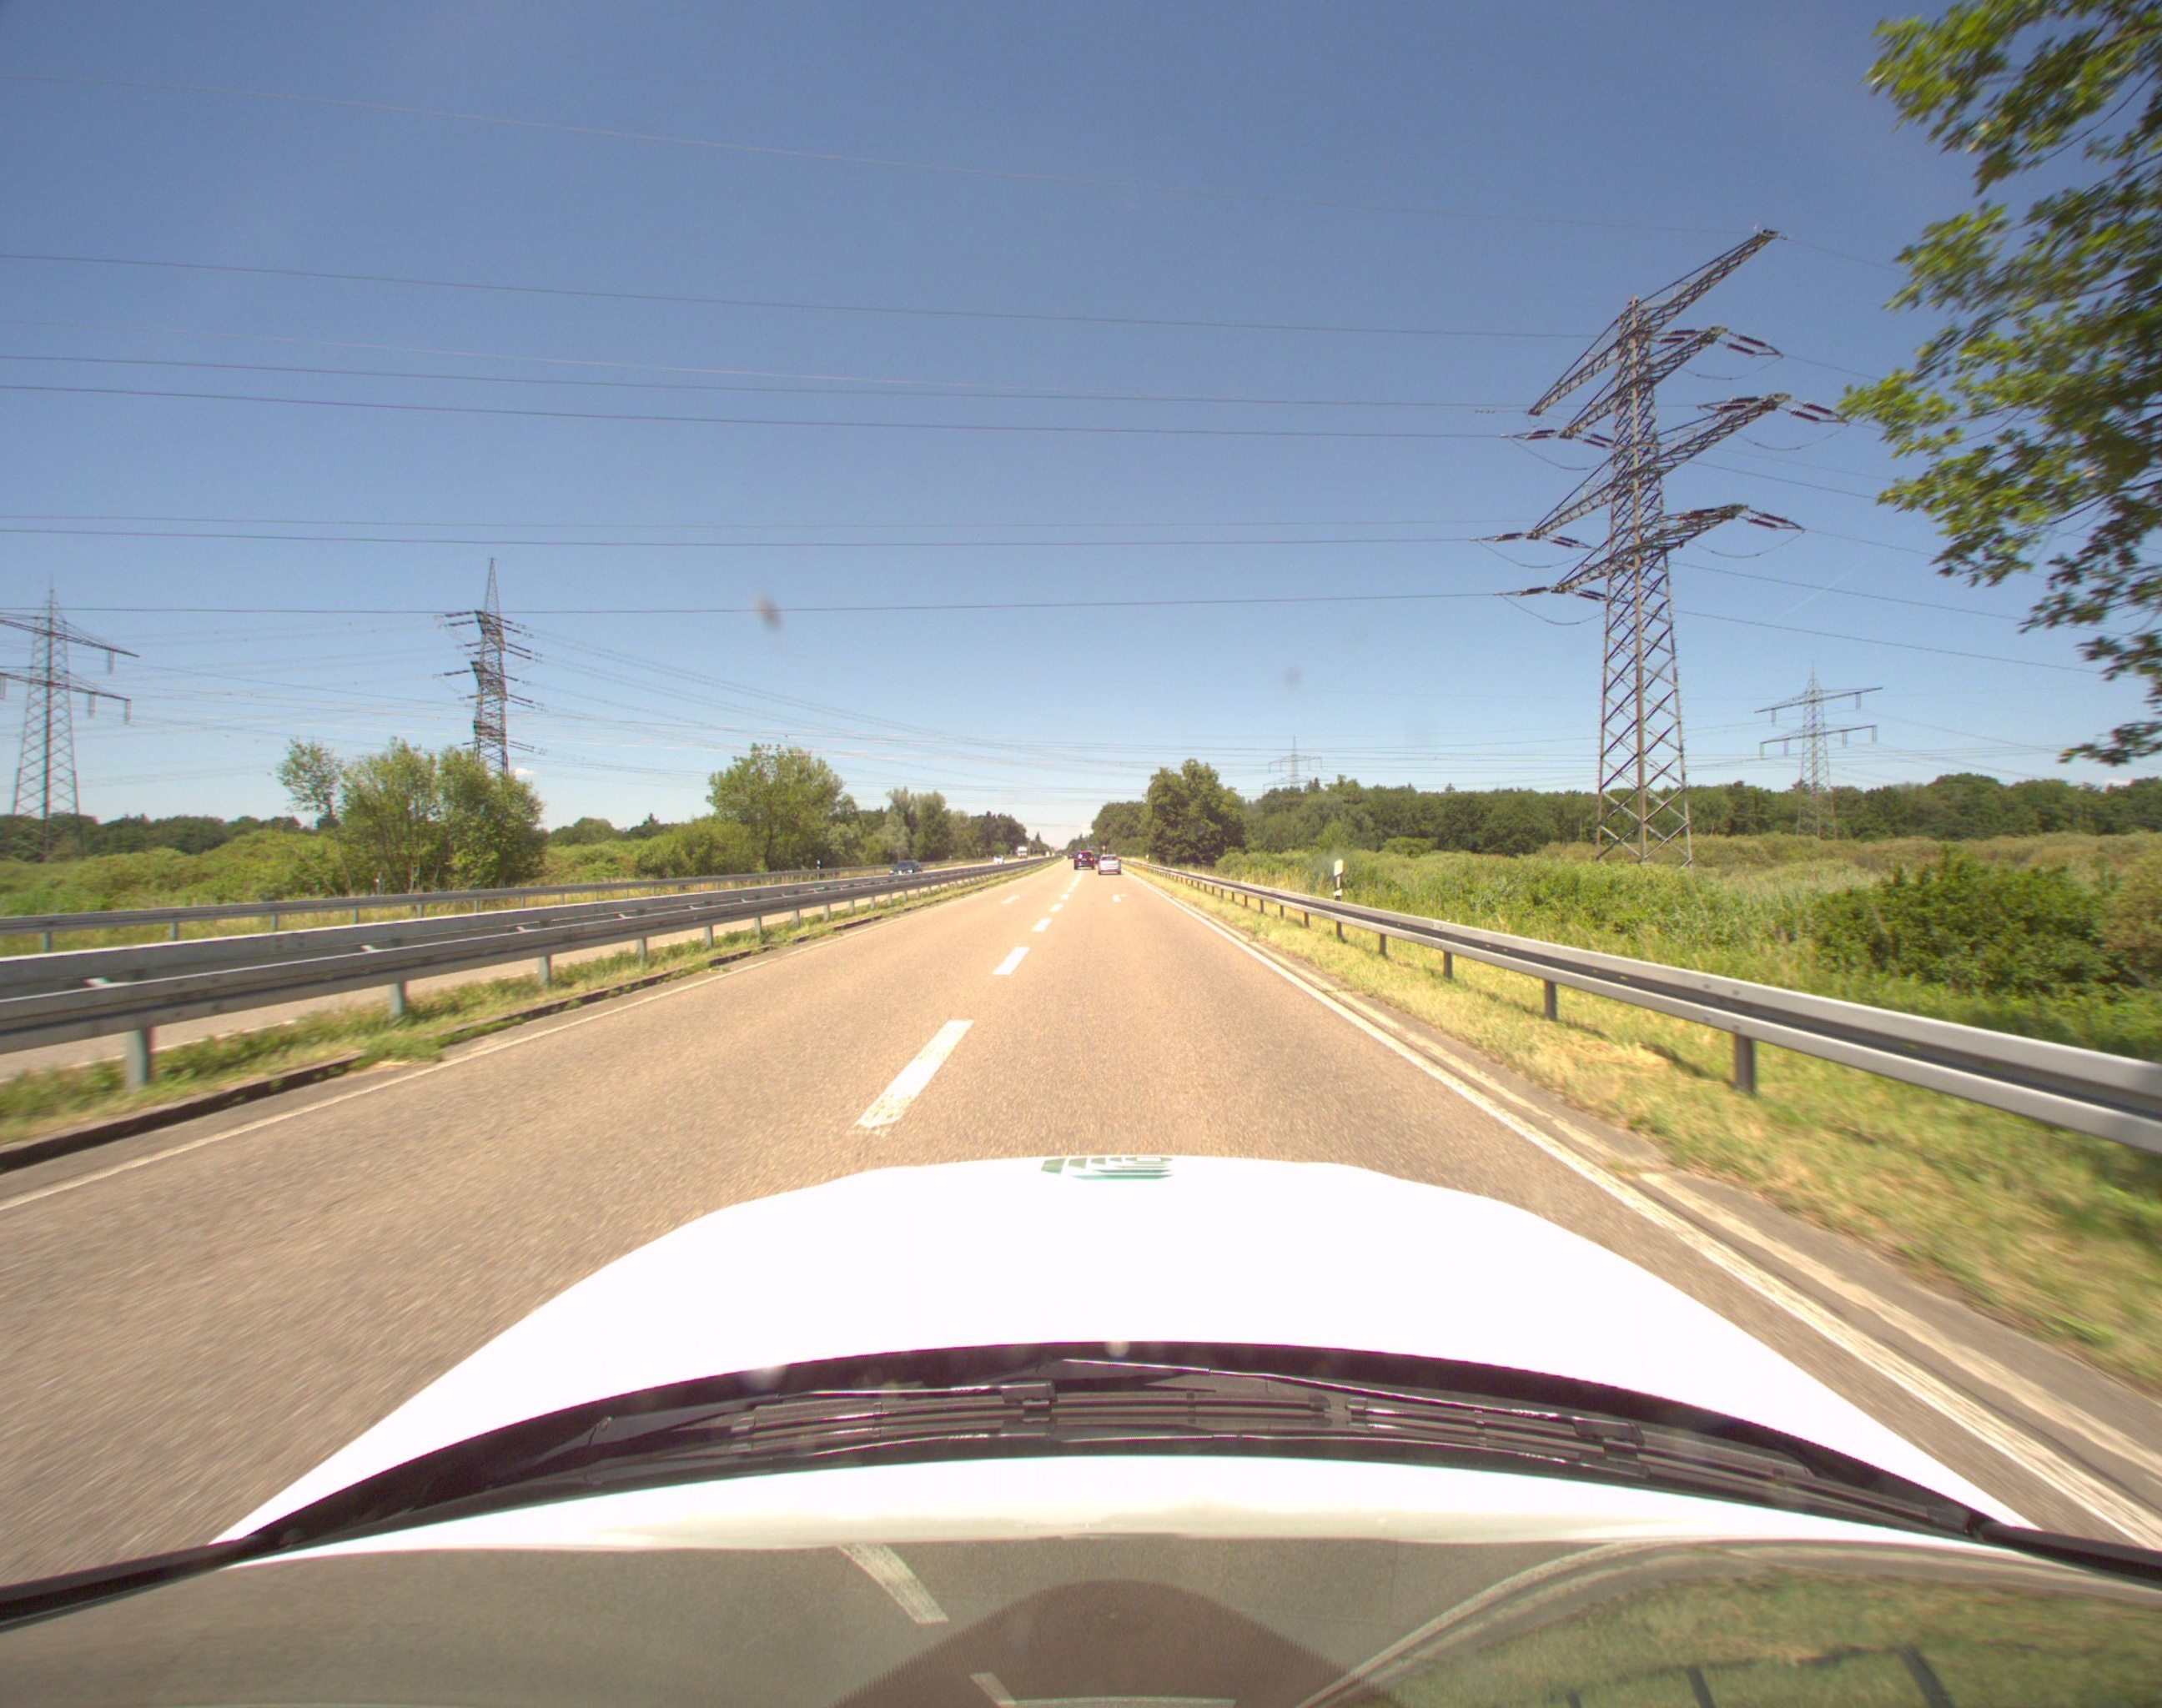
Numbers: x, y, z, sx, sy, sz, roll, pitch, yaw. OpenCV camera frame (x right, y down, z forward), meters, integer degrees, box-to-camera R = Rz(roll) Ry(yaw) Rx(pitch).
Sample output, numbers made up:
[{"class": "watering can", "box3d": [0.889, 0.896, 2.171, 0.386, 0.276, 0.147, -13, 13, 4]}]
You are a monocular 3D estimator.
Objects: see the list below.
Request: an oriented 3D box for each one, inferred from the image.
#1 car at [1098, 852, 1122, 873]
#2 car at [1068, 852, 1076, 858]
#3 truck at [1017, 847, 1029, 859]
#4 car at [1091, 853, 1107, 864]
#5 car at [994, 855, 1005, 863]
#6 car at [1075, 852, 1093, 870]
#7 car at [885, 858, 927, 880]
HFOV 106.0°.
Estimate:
[{"class": "car", "box3d": [2.140, 0.631, 60.360, 1.635, 1.468, 3.419, 1, 0, 1]}, {"class": "car", "box3d": [-2.192, 0.292, 194.761, 1.707, 1.471, 3.572, 1, 0, -1]}, {"class": "truck", "box3d": [-16.545, -0.328, 231.145, 2.709, 3.193, 8.403, -2, 0, 0]}, {"class": "car", "box3d": [2.151, 0.523, 97.554, 1.633, 1.342, 3.578, 1, 0, 4]}, {"class": "car", "box3d": [-14.482, 0.910, 144.932, 1.528, 1.449, 3.701, -1, 0, 0]}, {"class": "car", "box3d": [0.283, 0.629, 78.084, 1.635, 1.654, 3.574, 1, 0, 0]}, {"class": "car", "box3d": [-12.445, 1.024, 58.170, 1.838, 1.413, 4.681, -1, 0, 1]}]
